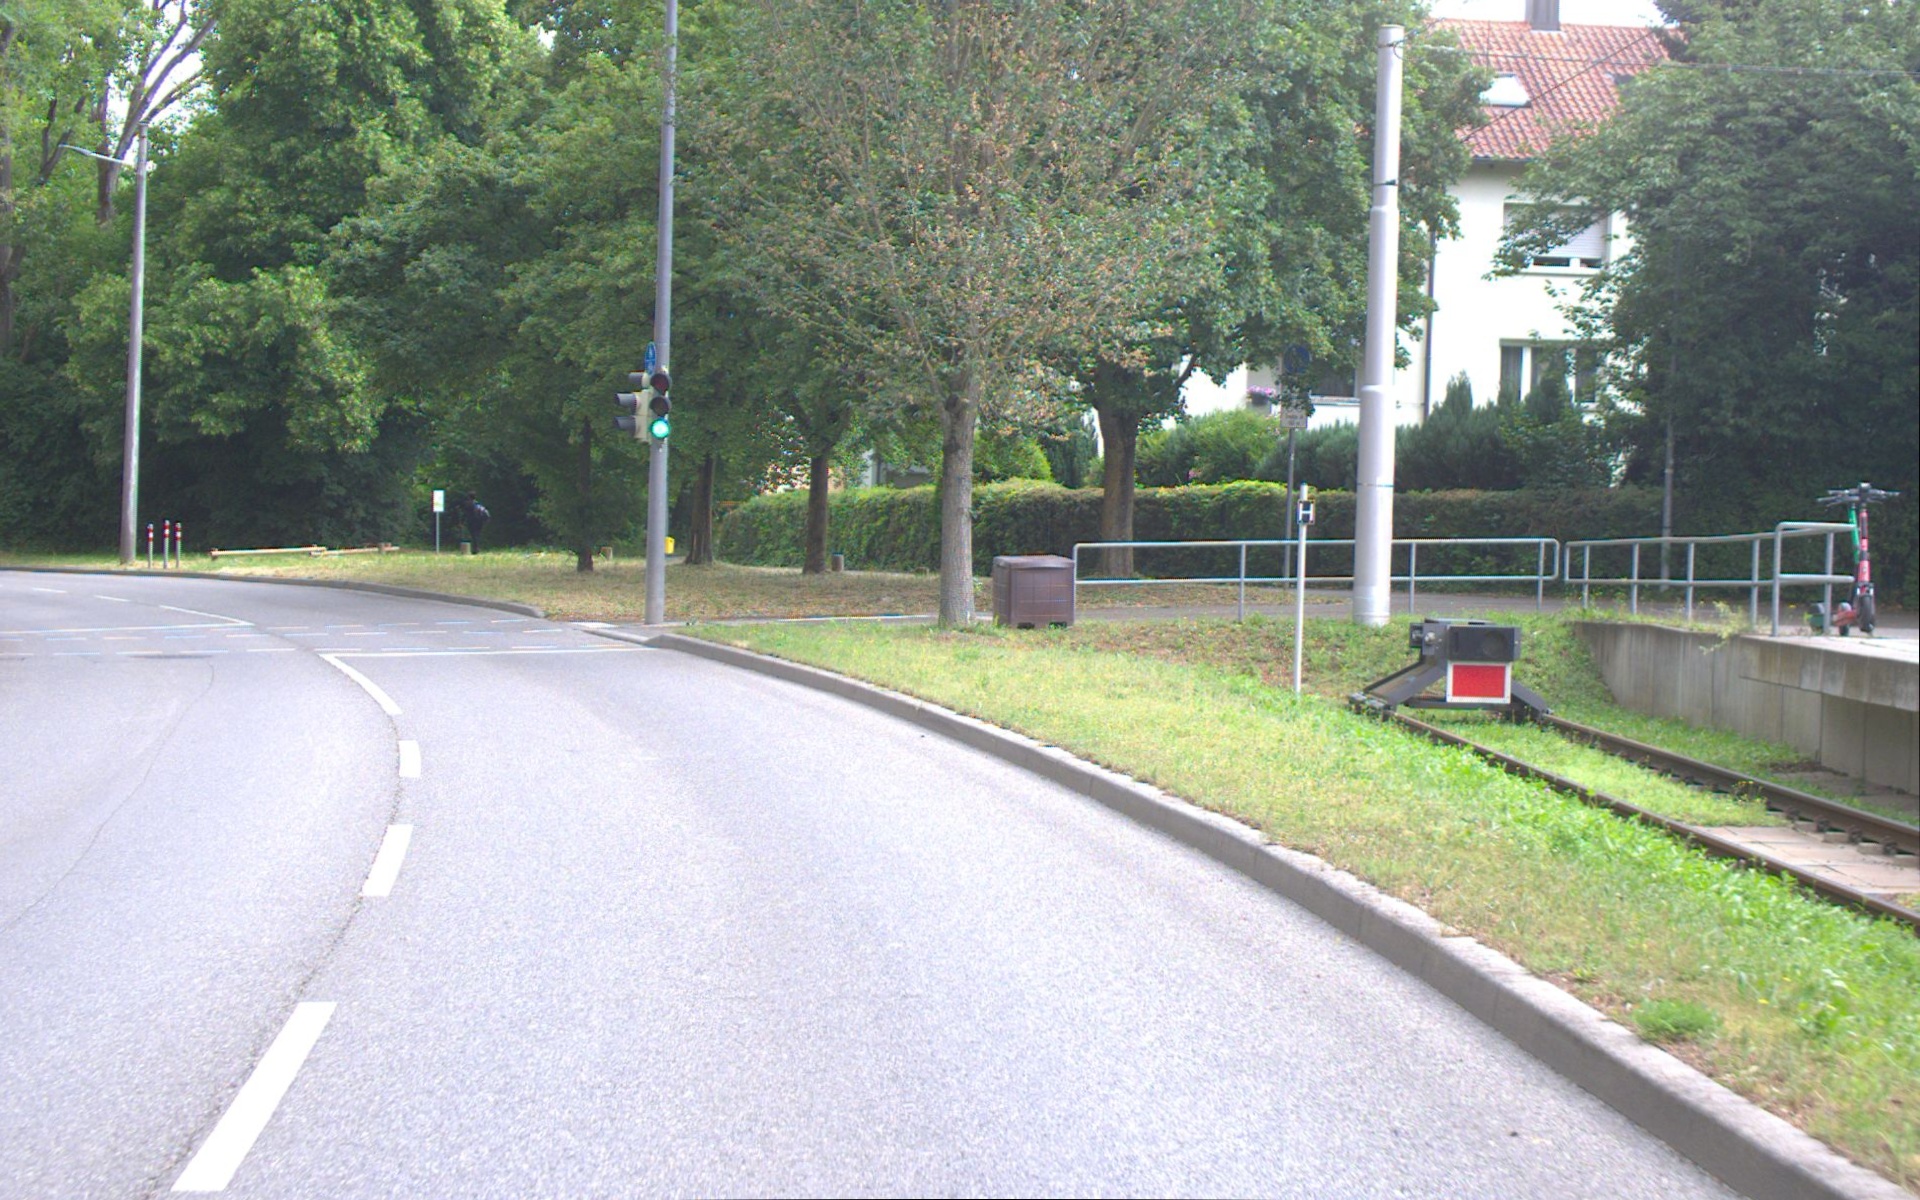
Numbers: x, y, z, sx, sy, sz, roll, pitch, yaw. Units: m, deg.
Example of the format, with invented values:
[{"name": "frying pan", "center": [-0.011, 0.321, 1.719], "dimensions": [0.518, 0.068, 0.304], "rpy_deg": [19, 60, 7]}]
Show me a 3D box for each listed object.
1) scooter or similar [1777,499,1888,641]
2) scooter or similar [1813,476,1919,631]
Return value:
[{"name": "scooter or similar", "center": [7.865, -0.264, 31.030], "dimensions": [0.429, 1.249, 1.255], "rpy_deg": [0, 0, -14]}, {"name": "scooter or similar", "center": [7.504, -0.375, 28.343], "dimensions": [0.429, 1.249, 1.255], "rpy_deg": [0, 0, -10]}]
